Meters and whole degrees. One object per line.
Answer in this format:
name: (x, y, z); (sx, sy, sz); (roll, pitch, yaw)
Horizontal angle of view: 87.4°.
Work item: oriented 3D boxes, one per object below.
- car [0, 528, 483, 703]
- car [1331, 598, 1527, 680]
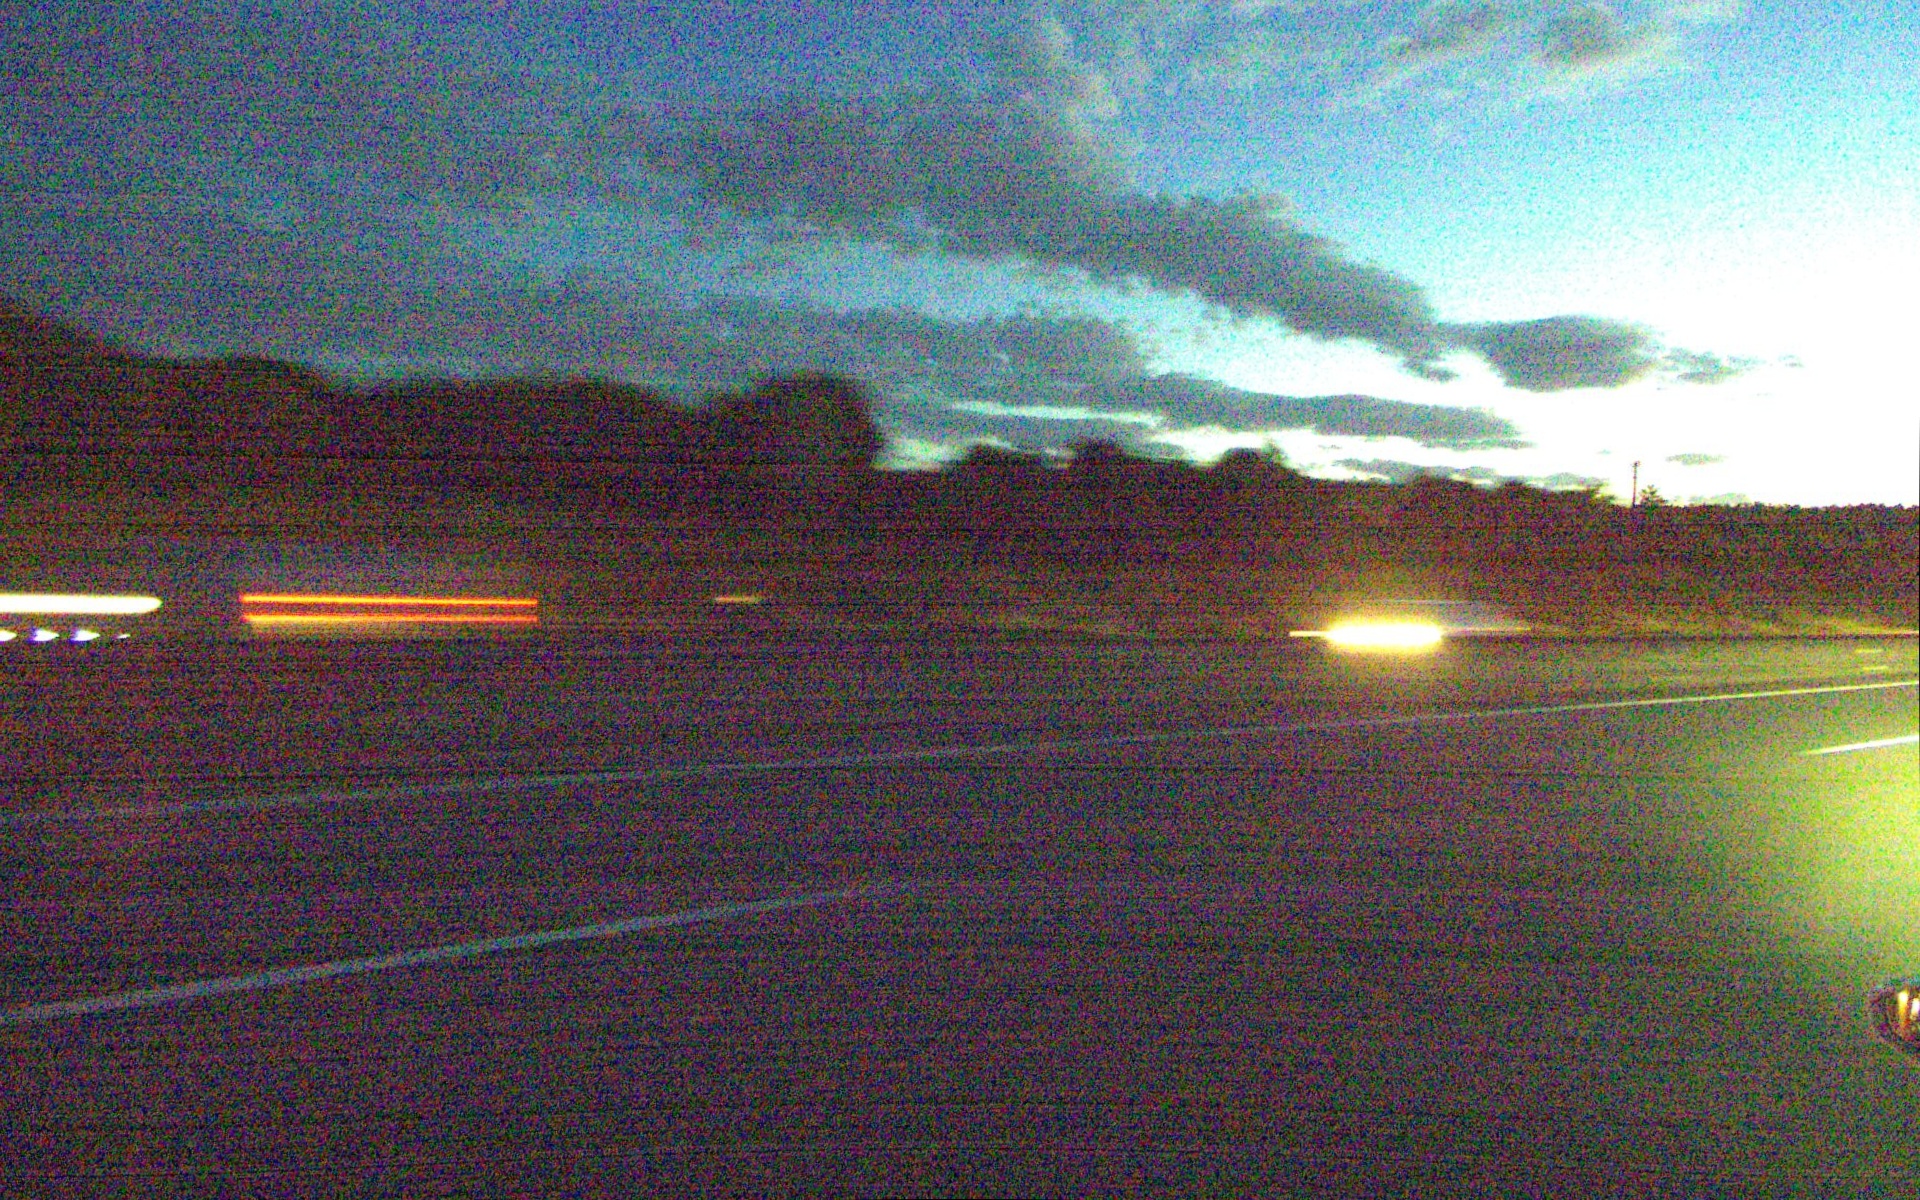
car: (-9.317, 0.194, 13.088); (5.367, 1.910, 2.132); (1, 0, -34)
car: (11.267, 0.899, 24.076); (4.604, 1.757, 1.984); (1, 0, -30)
